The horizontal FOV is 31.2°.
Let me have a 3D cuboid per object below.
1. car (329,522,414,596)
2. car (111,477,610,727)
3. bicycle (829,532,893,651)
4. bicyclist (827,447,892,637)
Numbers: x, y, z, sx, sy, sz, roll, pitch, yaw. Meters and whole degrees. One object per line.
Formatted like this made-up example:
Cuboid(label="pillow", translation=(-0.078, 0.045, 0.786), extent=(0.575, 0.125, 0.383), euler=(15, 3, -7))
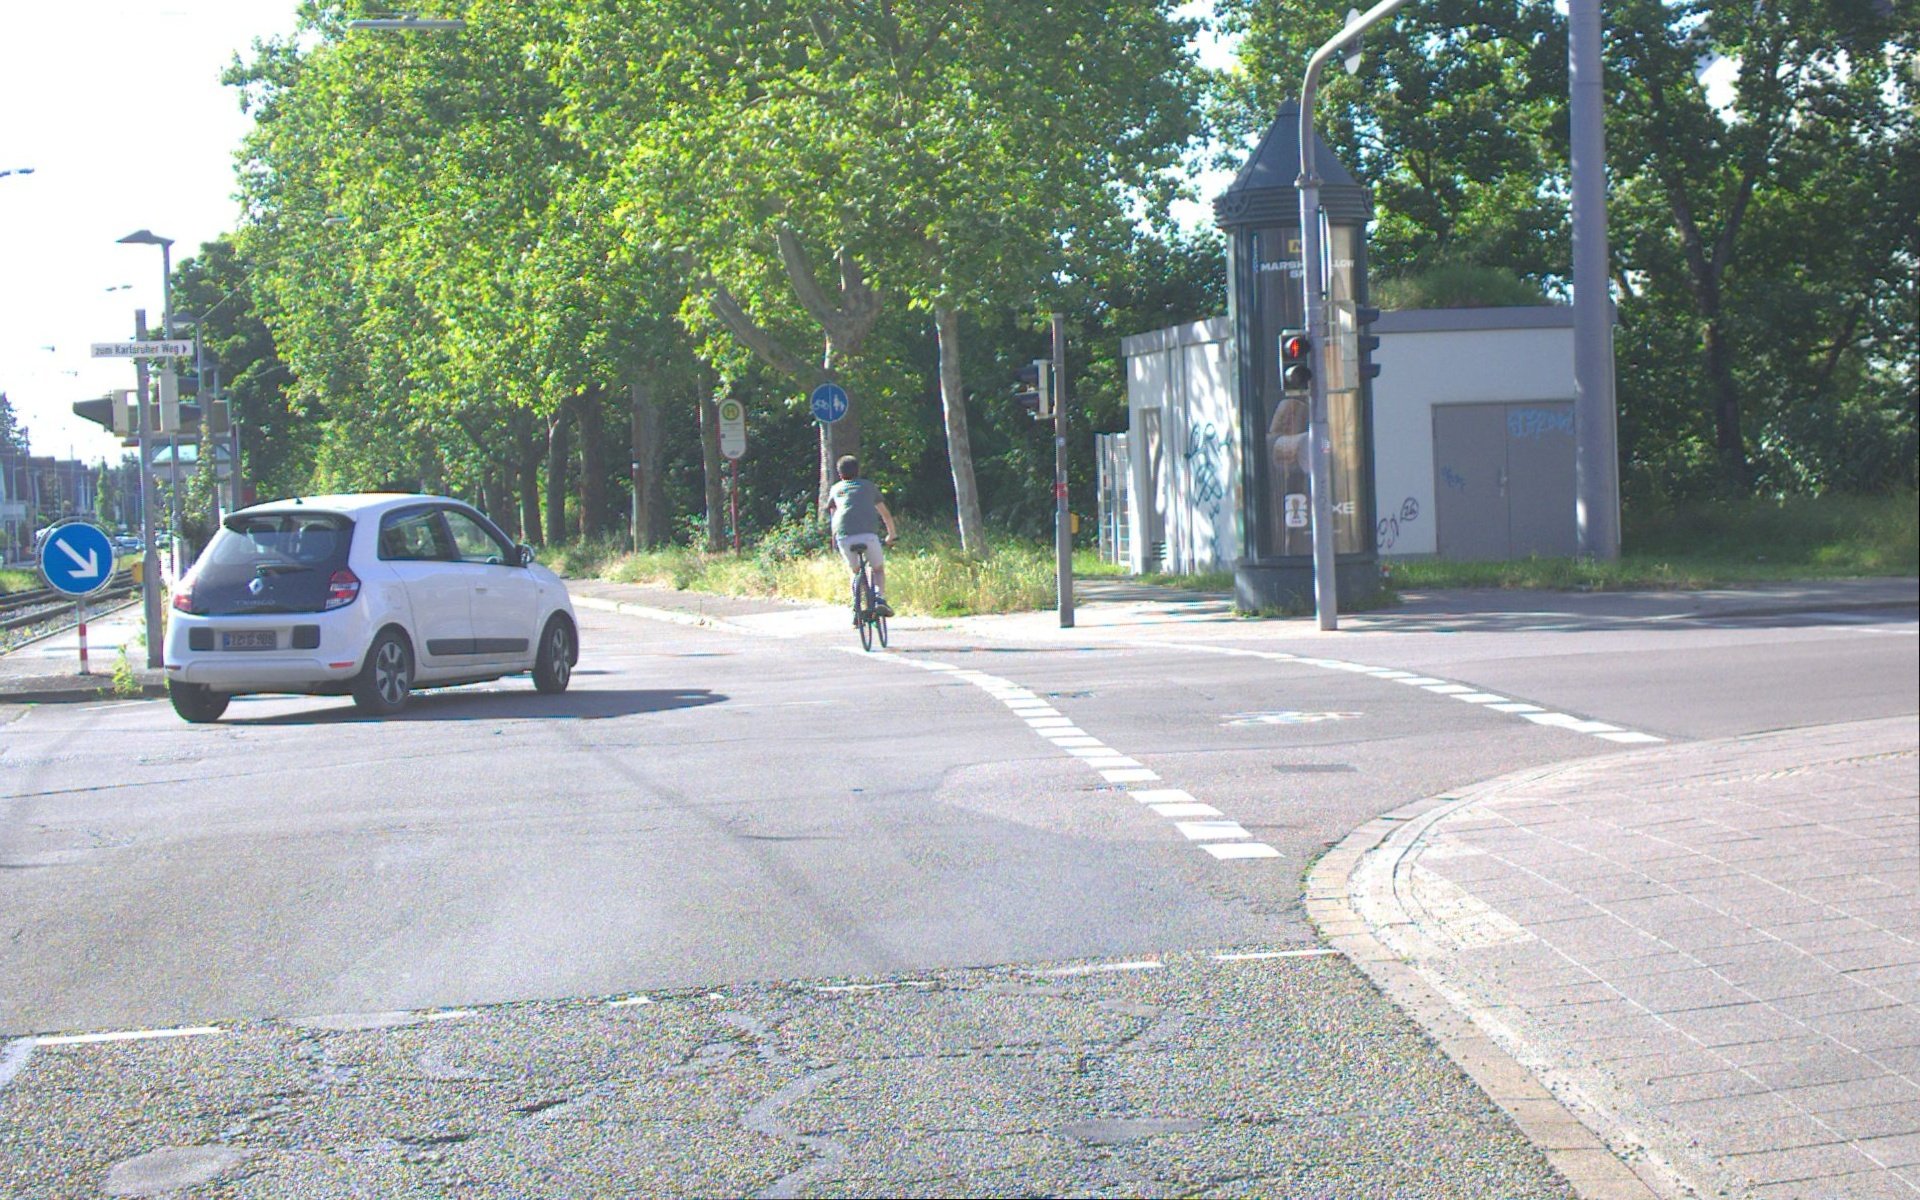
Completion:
Cuboid(label="car", translation=(-13.688, -0.964, 79.820), extent=(1.750, 1.599, 3.582), euler=(-3, 2, -12))
Cuboid(label="car", translation=(-4.228, -0.033, 24.823), extent=(1.752, 1.599, 3.746), euler=(-2, 2, 23))
Cuboid(label="bicycle", translation=(-0.931, -0.091, 32.580), extent=(0.536, 1.062, 1.434), euler=(-2, 2, -1))
Cuboid(label="bicyclist", translation=(-0.957, -0.554, 32.646), extent=(0.534, 1.763, 0.713), euler=(-2, 2, -2))
